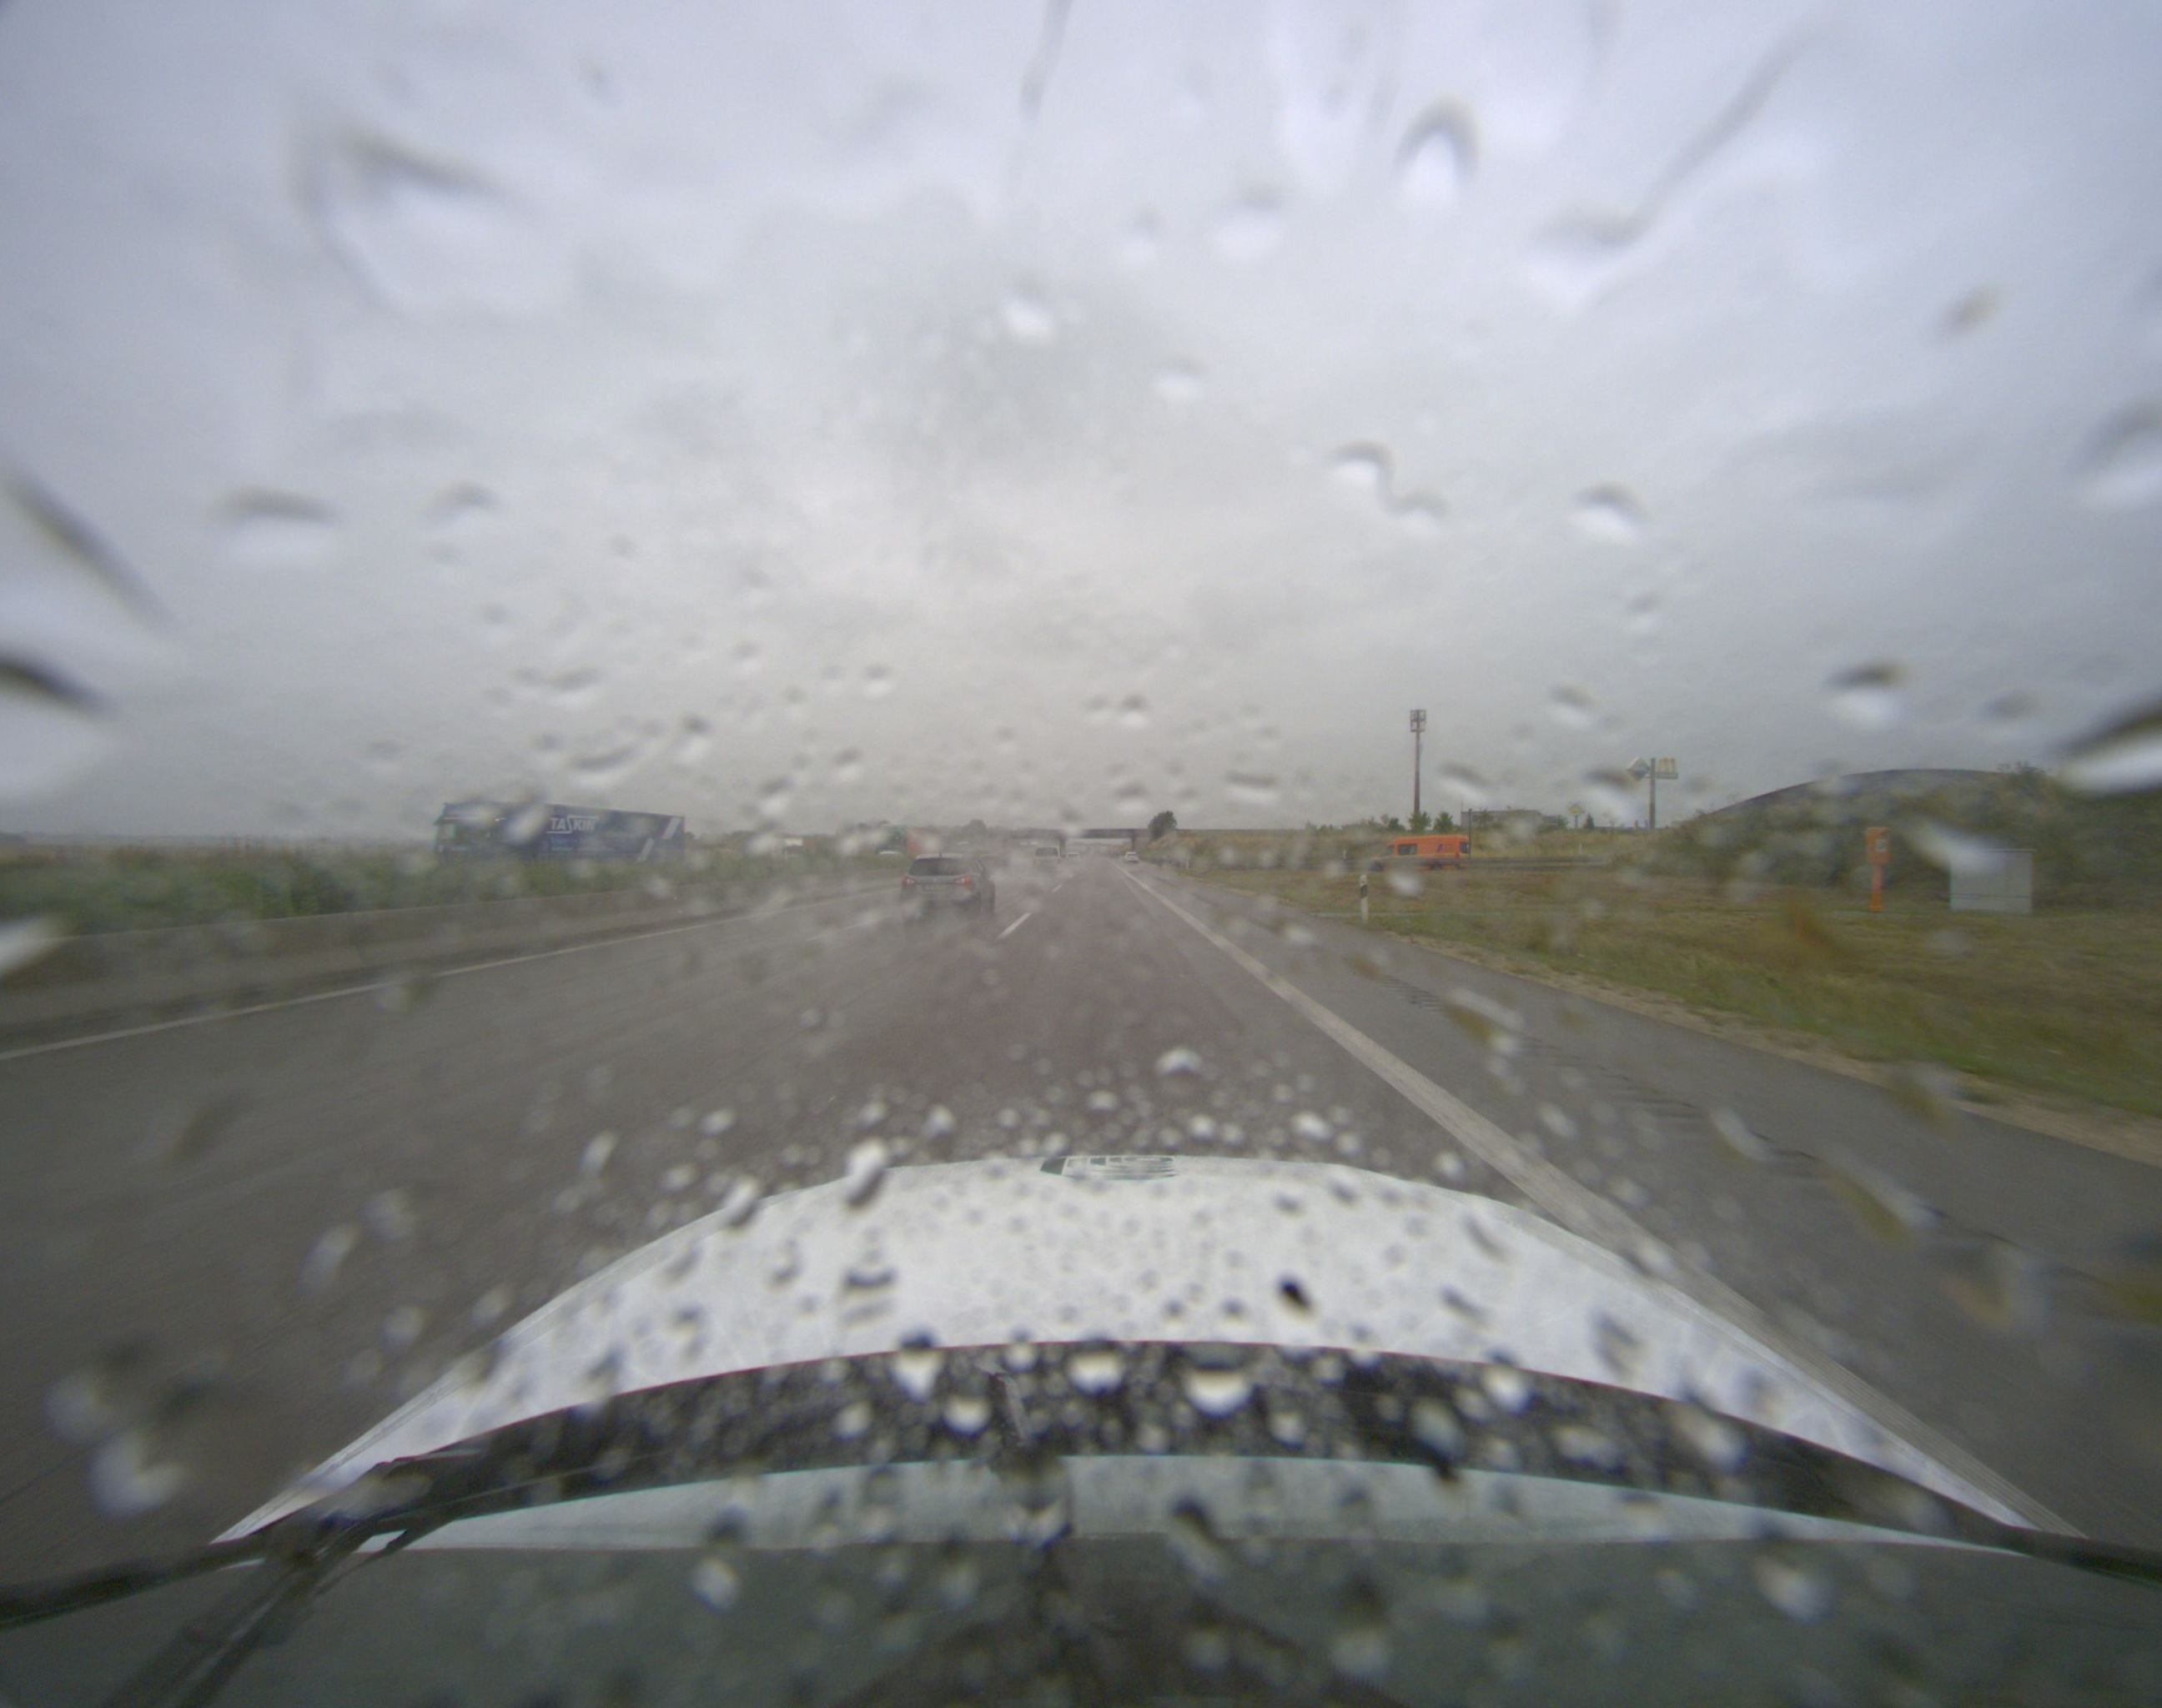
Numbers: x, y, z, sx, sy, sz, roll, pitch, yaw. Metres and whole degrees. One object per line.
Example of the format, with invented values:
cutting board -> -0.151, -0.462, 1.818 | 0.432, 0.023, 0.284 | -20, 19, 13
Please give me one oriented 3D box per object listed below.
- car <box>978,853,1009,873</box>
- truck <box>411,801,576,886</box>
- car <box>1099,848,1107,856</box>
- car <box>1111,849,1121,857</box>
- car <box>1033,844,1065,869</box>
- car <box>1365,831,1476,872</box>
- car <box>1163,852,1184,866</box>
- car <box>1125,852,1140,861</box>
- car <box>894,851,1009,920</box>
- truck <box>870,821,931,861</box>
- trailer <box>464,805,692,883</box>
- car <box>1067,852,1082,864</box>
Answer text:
car -> -6.015, 0.616, 56.210 | 1.606, 1.354, 4.001 | 0, 0, 2
truck -> -25.944, -0.439, 36.342 | 3.088, 3.421, 5.686 | -1, 0, 1
car -> 5.870, -0.628, 217.883 | 1.988, 2.101, 3.997 | -1, 0, -2
car -> 6.941, -0.124, 160.665 | 1.796, 1.508, 3.998 | -1, 0, -1
car -> -2.099, 0.190, 54.031 | 1.890, 1.585, 4.001 | 0, 0, 1
car -> 23.022, -0.199, 55.546 | 2.078, 2.615, 6.805 | 1, 0, -41
car -> 9.810, 0.532, 86.562 | 1.727, 1.421, 3.655 | -1, 0, -2
car -> 6.903, 0.358, 109.599 | 1.985, 1.266, 4.003 | 0, 0, 3
car -> -3.113, 0.706, 20.636 | 1.838, 1.513, 4.761 | -1, 0, 4
truck -> -16.776, -1.180, 76.650 | 3.254, 3.441, 10.132 | -1, 0, 1
trailer -> -25.823, -0.466, 43.402 | 3.104, 3.418, 14.236 | -1, 0, 1
car -> -0.725, 0.428, 89.861 | 1.462, 1.208, 2.992 | 1, 0, 2
